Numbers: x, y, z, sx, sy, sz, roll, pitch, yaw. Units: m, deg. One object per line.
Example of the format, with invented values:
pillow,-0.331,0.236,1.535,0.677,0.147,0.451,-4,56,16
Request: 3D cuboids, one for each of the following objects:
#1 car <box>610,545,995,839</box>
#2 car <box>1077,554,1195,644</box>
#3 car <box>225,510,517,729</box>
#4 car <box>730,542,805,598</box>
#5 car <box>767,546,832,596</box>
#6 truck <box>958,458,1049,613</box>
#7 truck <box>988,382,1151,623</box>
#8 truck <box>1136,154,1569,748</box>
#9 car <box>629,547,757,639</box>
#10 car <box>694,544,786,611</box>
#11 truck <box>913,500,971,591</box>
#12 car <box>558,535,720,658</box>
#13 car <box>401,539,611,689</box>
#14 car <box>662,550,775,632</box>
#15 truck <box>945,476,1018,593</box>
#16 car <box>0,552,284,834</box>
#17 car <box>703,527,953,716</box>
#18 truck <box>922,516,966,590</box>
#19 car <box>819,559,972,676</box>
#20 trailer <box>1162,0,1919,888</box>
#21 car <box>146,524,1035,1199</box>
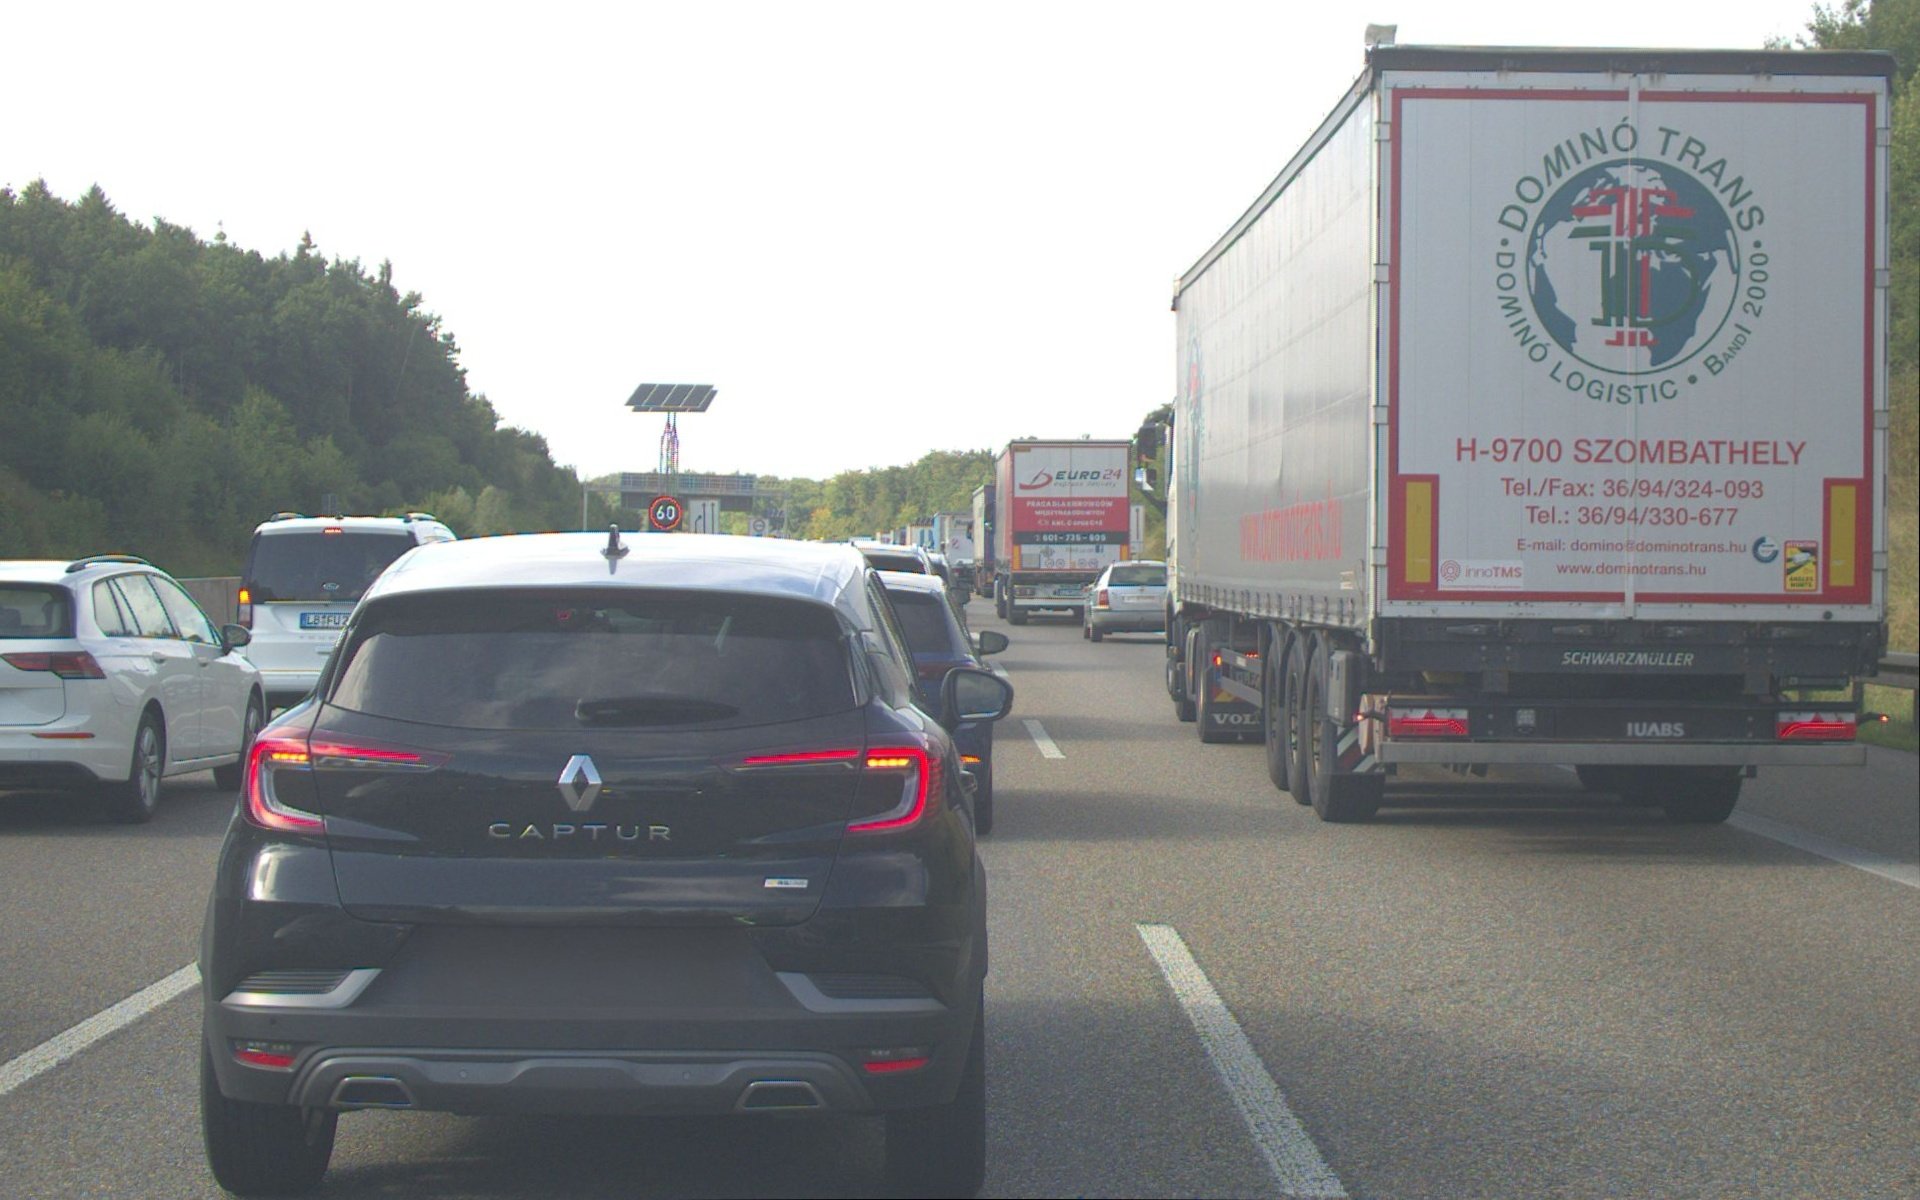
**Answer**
car,-0.816,0.470,19.969,1.993,1.509,4.000,1,0,0
car,3.125,-0.032,61.643,1.804,1.527,3.926,1,0,-1
car,-5.173,0.148,30.735,1.911,1.783,4.418,1,0,-1
car,-5.722,-0.904,102.620,1.993,1.607,4.000,1,1,0
car,-5.396,-0.993,115.963,1.993,1.607,4.000,1,1,0
truck,1.593,-2.341,128.741,3.166,5.486,12.737,1,0,0
truck,2.355,-2.088,78.683,3.365,5.027,12.737,1,0,0
truck,3.242,-1.216,30.050,2.997,4.651,5.940,0,1,-1
car,-4.844,-0.138,62.923,1.993,1.607,4.000,1,0,0
car,-5.418,-0.579,85.135,1.993,1.607,4.000,1,1,0
truck,-0.989,-3.147,202.693,3.166,5.142,12.737,1,0,0
car,-4.706,-0.060,50.879,1.993,1.716,4.000,1,0,0
car,-5.215,0.141,39.904,1.855,1.635,3.925,1,0,1
car,-4.918,-0.187,70.458,1.993,1.607,4.000,1,0,0
truck,1.112,-3.147,169.395,3.167,5.486,12.736,1,0,2
car,-5.279,0.461,19.943,1.804,1.456,4.308,0,0,1
car,-1.082,0.164,30.081,1.993,1.509,4.000,1,0,0
truck,-1.185,-3.531,262.672,3.166,5.486,12.737,1,0,0
car,-0.840,0.213,47.135,1.993,1.509,4.000,1,0,0
trailer,3.331,-1.093,22.685,3.002,4.645,13.291,1,1,-1
car,-0.736,0.597,9.188,1.805,1.547,4.000,0,1,2
